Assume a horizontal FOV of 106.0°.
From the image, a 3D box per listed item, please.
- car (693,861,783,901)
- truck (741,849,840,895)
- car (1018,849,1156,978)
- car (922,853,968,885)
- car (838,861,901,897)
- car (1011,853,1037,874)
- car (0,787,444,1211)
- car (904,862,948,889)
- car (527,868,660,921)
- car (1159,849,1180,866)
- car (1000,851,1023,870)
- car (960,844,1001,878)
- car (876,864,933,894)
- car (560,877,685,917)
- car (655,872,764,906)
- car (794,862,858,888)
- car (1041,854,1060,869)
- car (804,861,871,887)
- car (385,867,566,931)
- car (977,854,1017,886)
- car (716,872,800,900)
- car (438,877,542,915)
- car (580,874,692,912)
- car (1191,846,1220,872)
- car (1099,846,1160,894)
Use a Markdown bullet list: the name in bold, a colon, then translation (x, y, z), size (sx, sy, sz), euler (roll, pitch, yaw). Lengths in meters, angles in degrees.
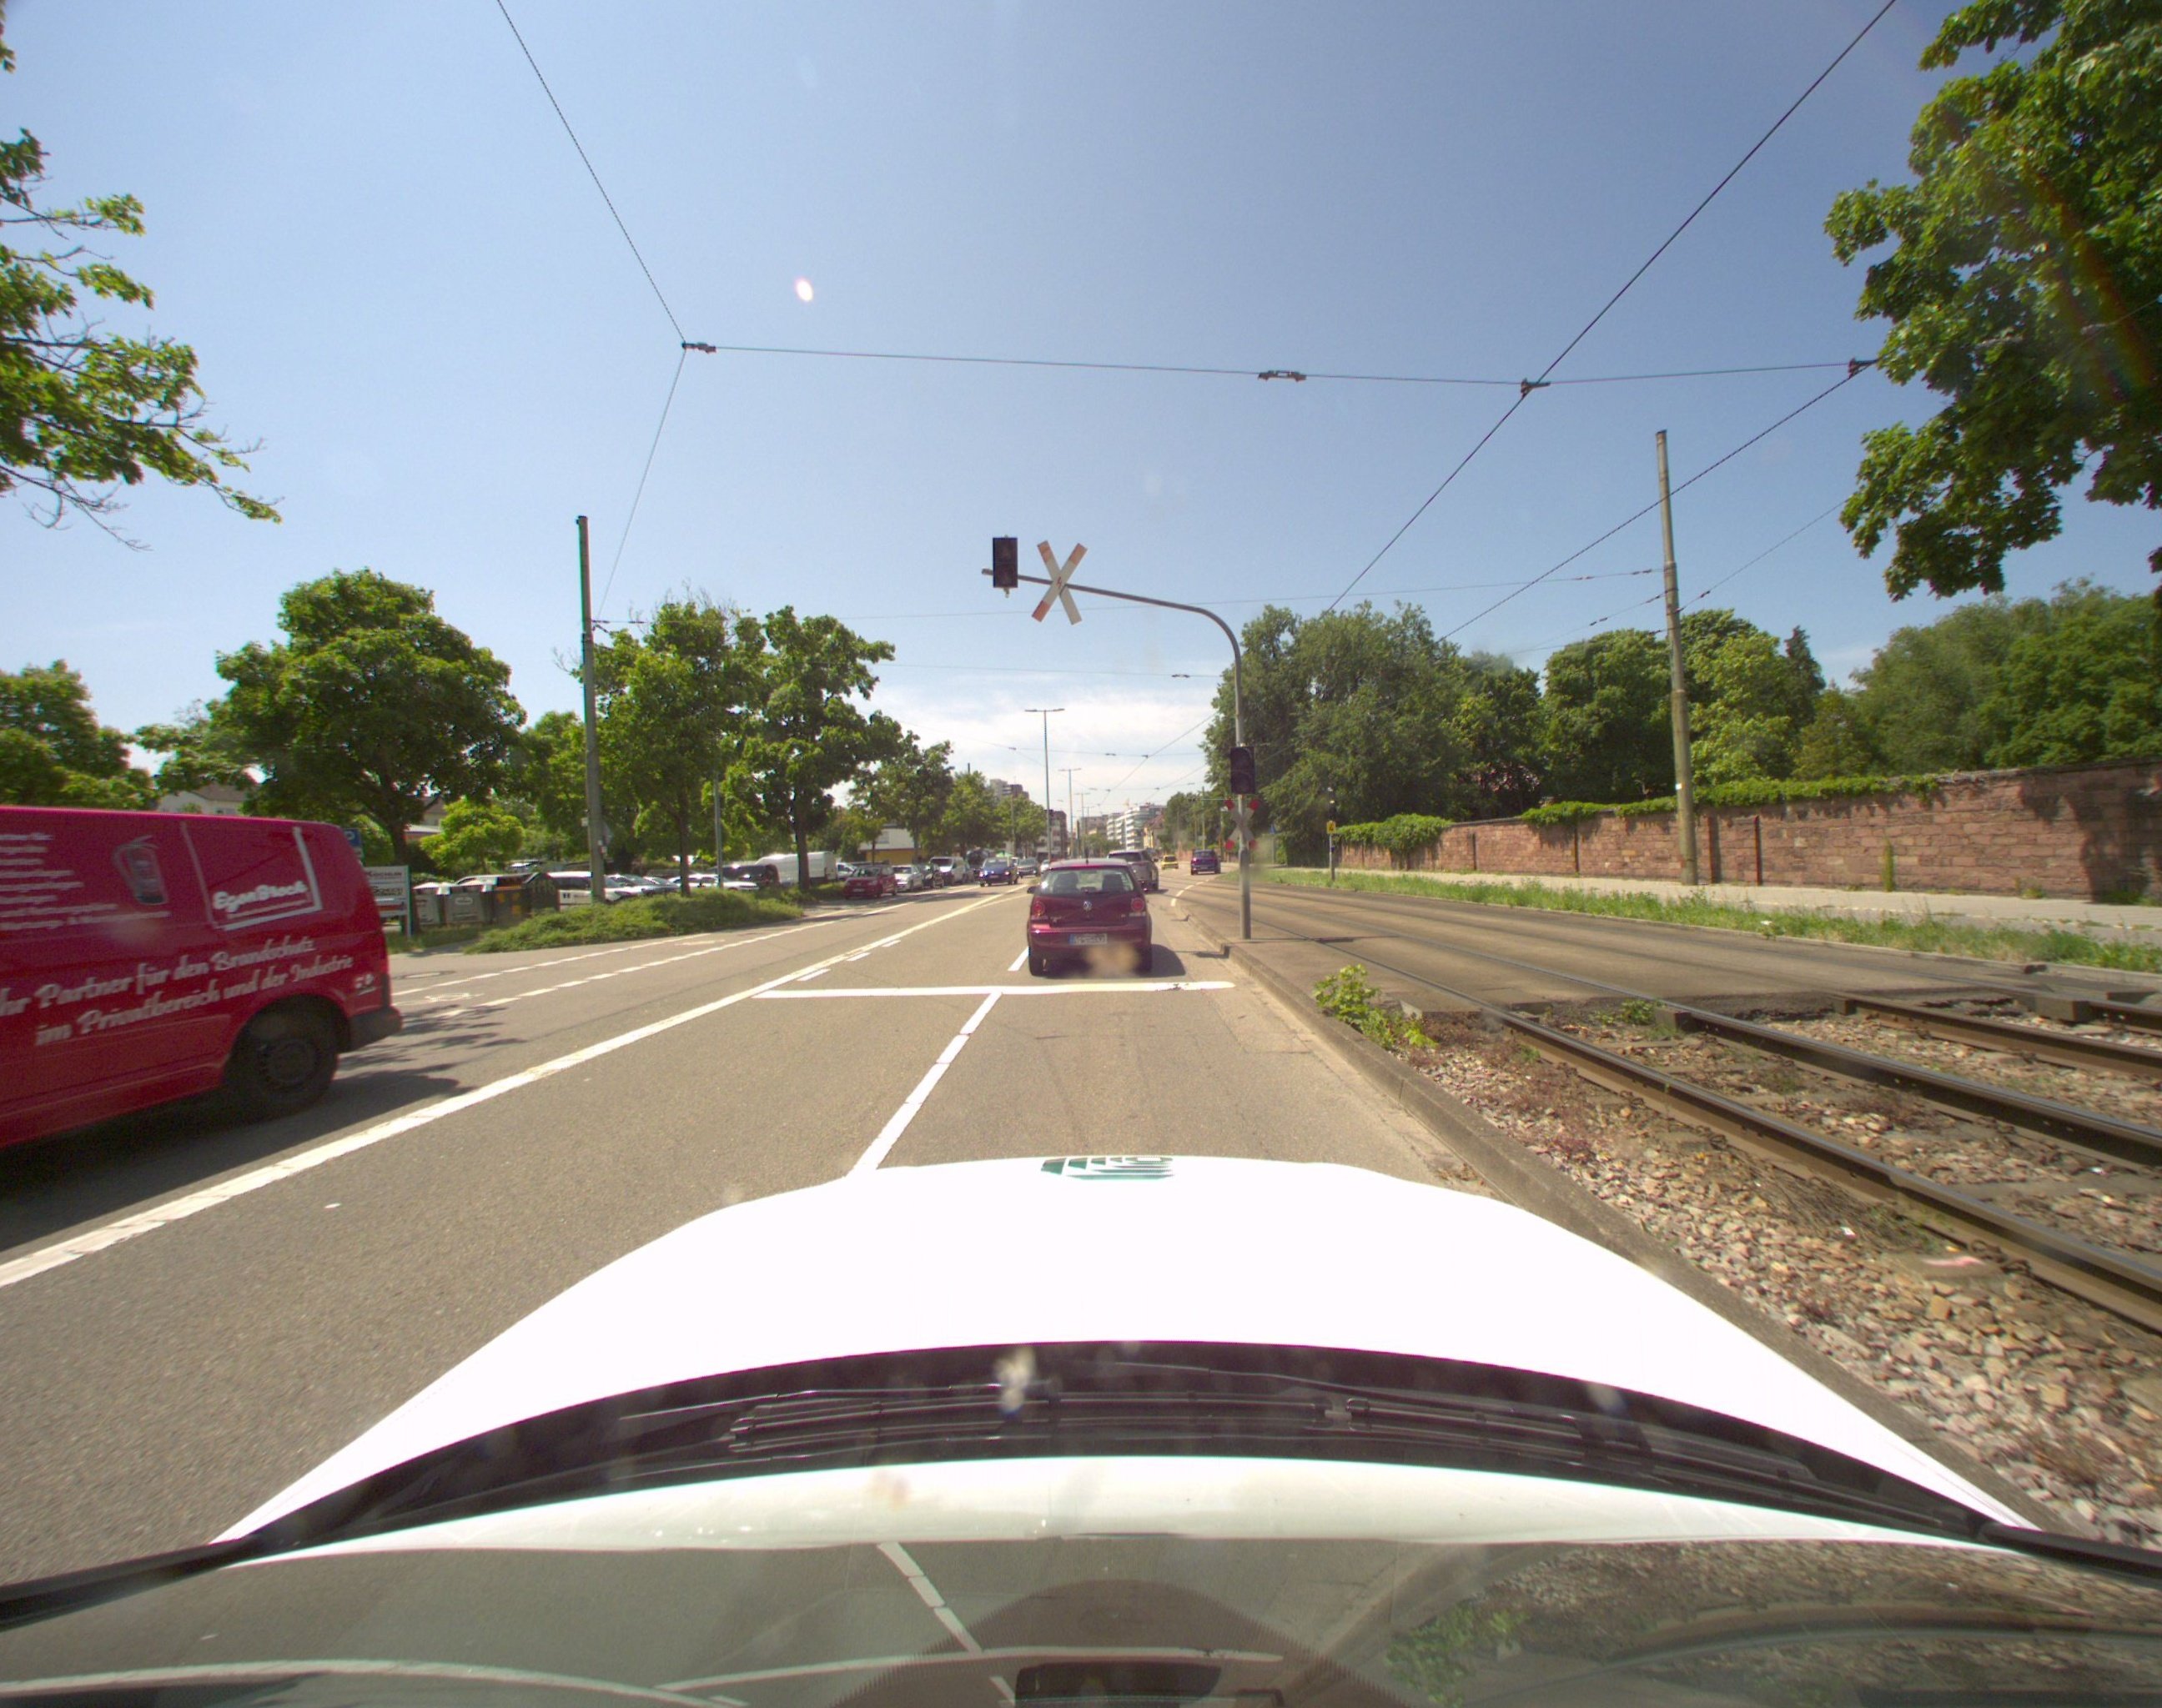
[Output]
- **car**: translation (-19.366, 1.510, 46.121), size (4.196, 1.995, 1.856), euler (-3, 0, -1)
- **truck**: translation (-19.235, 1.173, 54.114), size (5.556, 2.759, 2.433), euler (-3, 0, 2)
- **car**: translation (0.164, 0.740, 11.964), size (1.603, 1.498, 4.002), euler (-3, -1, 2)
- **car**: translation (-8.985, 0.938, 54.109), size (1.854, 1.937, 4.810), euler (-3, 0, 4)
- **car**: translation (-9.552, 1.092, 37.057), size (1.664, 1.546, 3.730), euler (-1, -1, 4)
- **car**: translation (-4.570, 0.768, 65.567), size (1.731, 1.575, 3.714), euler (-3, 0, 1)
- **car**: translation (-5.894, 0.719, 3.823), size (1.893, 1.926, 4.819), euler (-4, 0, 0)
- **car**: translation (-9.217, 1.254, 48.639), size (1.607, 1.484, 3.788), euler (1, 0, 4)
- **car**: translation (-19.386, 1.598, 32.476), size (4.248, 1.835, 1.675), euler (-3, 0, 3)
- **car**: translation (9.050, 0.383, 83.715), size (1.788, 1.683, 4.002), euler (-1, 0, 2)
- **car**: translation (-7.686, 0.719, 90.196), size (1.868, 1.965, 5.166), euler (-2, 0, 2)
- **car**: translation (-8.461, 0.595, 69.239), size (2.389, 2.656, 6.175), euler (-2, 0, 1)
- **car**: translation (-9.438, 1.304, 43.912), size (1.712, 1.427, 4.774), euler (-3, 0, 3)
- **car**: translation (-19.916, 1.854, 35.566), size (4.186, 1.403, 2.079), euler (-3, 0, -3)
- **car**: translation (-19.660, 1.830, 43.262), size (4.746, 1.488, 2.058), euler (-3, 0, -1)
- **car**: translation (-19.413, 1.594, 62.108), size (4.196, 1.765, 1.856), euler (-3, 0, -1)
- **car**: translation (-3.133, 0.733, 83.374), size (1.642, 1.376, 3.812), euler (-3, 0, 2)
- **car**: translation (-19.364, 1.570, 64.786), size (4.703, 1.813, 1.796), euler (-3, 0, -1)
- **car**: translation (-20.442, 1.485, 27.670), size (4.437, 1.857, 2.059), euler (-3, 0, -3)
- **car**: translation (-4.799, 0.881, 47.061), size (1.731, 1.656, 4.067), euler (-3, 0, 1)
- **car**: translation (-19.204, 1.890, 48.593), size (4.196, 1.411, 1.856), euler (-3, 0, -1)
- **car**: translation (-31.969, 2.264, 44.139), size (4.113, 1.820, 1.971), euler (-2, -1, 0)
- **car**: translation (-20.764, 1.804, 38.114), size (4.104, 1.508, 1.934), euler (-3, 0, 3)
- **car**: translation (8.500, 0.323, 55.361), size (1.763, 1.630, 4.011), euler (-1, 0, 10)
- **car**: translation (1.916, 0.579, 31.285), size (1.784, 1.683, 4.012), euler (-1, 0, 11)
